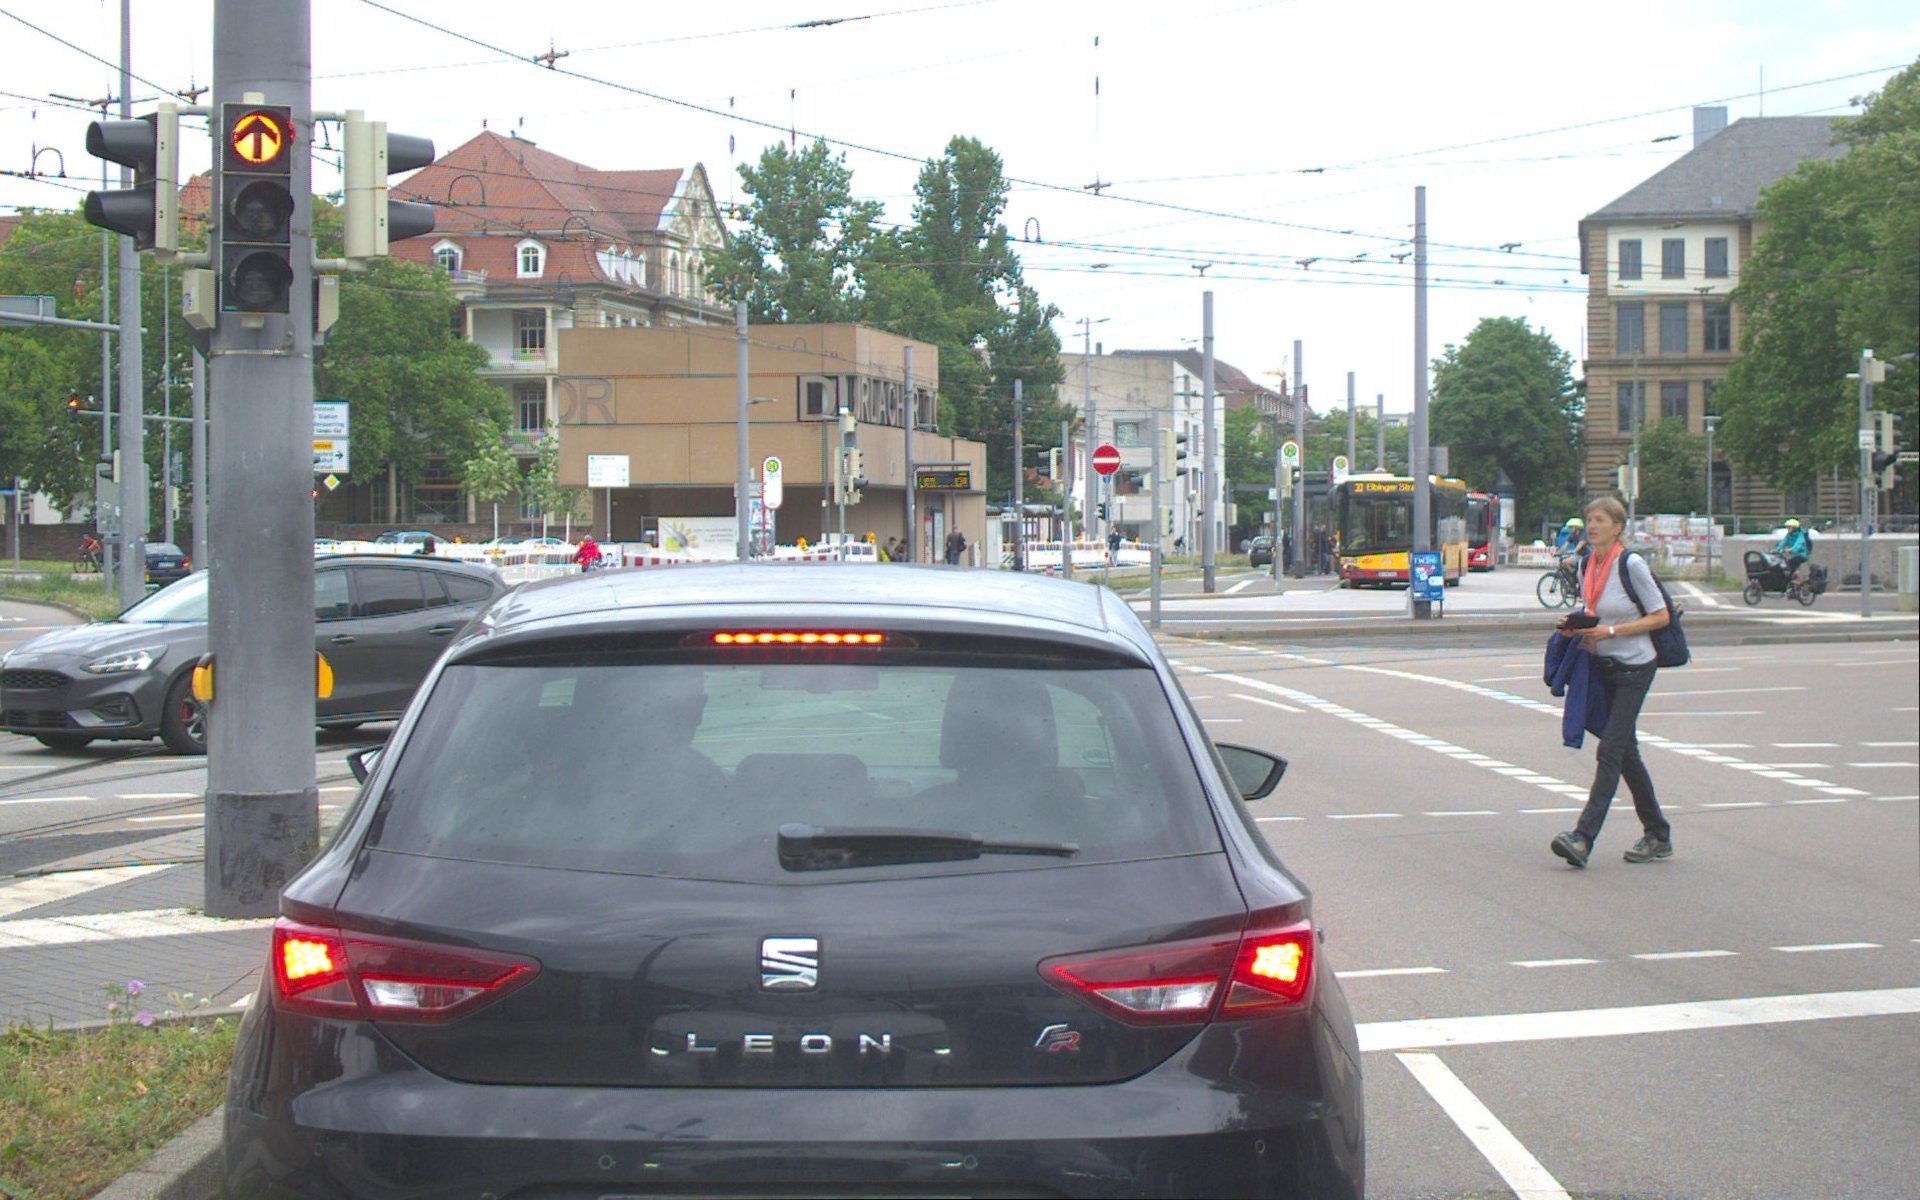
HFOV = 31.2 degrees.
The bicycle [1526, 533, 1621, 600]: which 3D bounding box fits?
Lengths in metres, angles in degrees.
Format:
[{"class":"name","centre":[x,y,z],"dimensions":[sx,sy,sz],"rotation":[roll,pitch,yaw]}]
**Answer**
[{"class":"bicycle","centre":[12.140,-0.668,68.009],"dimensions":[1.730,1.317,0.645],"rotation":[0,1,-12]}]

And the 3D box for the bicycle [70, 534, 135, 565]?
[{"class":"bicycle","centre":[-34.053,-2.012,136.555],"dimensions":[0.941,1.174,2.725],"rotation":[1,1,28]}]

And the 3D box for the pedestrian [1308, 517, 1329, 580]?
[{"class":"pedestrian","centre":[10.956,-1.586,105.053],"dimensions":[0.621,1.911,0.698],"rotation":[0,1,9]}]

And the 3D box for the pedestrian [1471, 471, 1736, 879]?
[{"class":"pedestrian","centre":[3.123,0.344,16.663],"dimensions":[1.101,1.900,0.735],"rotation":[0,1,-43]}]

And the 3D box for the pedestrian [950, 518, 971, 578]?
[{"class":"pedestrian","centre":[0.011,-1.658,109.743],"dimensions":[0.621,1.911,0.710],"rotation":[0,1,3]}]

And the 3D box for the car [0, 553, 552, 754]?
[{"class":"car","centre":[-5.390,0.355,26.698],"dimensions":[1.697,1.391,4.382],"rotation":[1,2,42]}]

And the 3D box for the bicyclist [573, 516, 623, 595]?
[{"class":"bicyclist","centre":[-7.929,-0.975,75.259],"dimensions":[0.882,1.726,0.894],"rotation":[0,1,-22]}]

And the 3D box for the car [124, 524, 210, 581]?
[{"class":"car","centre":[-24.301,-1.449,105.285],"dimensions":[1.993,1.678,4.001],"rotation":[0,0,-22]}]

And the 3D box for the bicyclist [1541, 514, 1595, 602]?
[{"class":"bicyclist","centre":[12.764,-0.887,72.213],"dimensions":[0.871,1.845,1.048],"rotation":[0,1,-6]}]

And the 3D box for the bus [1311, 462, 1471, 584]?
[{"class":"bus","centre":[11.894,-2.095,93.928],"dimensions":[2.962,3.112,11.531],"rotation":[0,1,14]}]

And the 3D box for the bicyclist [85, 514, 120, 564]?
[{"class":"bicyclist","centre":[-34.049,-2.429,136.541],"dimensions":[0.939,2.007,0.977],"rotation":[1,1,28]}]

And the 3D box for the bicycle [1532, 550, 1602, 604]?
[{"class":"bicycle","centre":[12.755,-0.500,72.271],"dimensions":[0.865,1.101,2.302],"rotation":[0,1,-5]}]

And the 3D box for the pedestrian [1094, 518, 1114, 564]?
[{"class":"pedestrian","centre":[6.064,-2.475,144.589],"dimensions":[0.622,1.911,0.709],"rotation":[0,0,25]}]

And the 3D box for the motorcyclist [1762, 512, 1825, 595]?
[{"class":"motorcyclist","centre":[16.660,-0.922,68.703],"dimensions":[0.977,1.644,0.750],"rotation":[-1,1,-33]}]

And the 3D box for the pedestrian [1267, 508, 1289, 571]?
[{"class":"pedestrian","centre":[9.680,-1.851,104.581],"dimensions":[0.621,1.911,0.698],"rotation":[0,1,9]}]

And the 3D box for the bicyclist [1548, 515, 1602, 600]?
[{"class":"bicyclist","centre":[12.164,-0.849,68.017],"dimensions":[0.854,1.667,0.654],"rotation":[0,1,-12]}]

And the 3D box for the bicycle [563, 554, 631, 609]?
[{"class":"bicycle","centre":[-7.965,-0.420,75.341],"dimensions":[0.891,1.174,2.302],"rotation":[0,1,-22]}]

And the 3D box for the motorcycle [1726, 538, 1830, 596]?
[{"class":"motorcycle","centre":[16.294,-0.656,68.483],"dimensions":[2.134,1.135,0.744],"rotation":[-1,1,-33]}]

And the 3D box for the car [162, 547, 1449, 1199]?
[{"class":"car","centre":[-0.342,0.639,6.468],"dimensions":[1.704,1.444,3.813],"rotation":[0,1,-4]}]

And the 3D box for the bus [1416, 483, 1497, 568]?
[{"class":"bus","centre":[19.855,-2.966,137.126],"dimensions":[2.655,3.272,10.990],"rotation":[0,1,11]}]

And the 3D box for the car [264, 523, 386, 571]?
[{"class":"car","centre":[-22.805,-1.906,123.545],"dimensions":[3.987,1.678,2.000],"rotation":[0,0,1]}]

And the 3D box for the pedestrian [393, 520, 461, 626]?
[{"class":"pedestrian","centre":[-9.861,-0.507,63.597],"dimensions":[0.700,1.927,1.028],"rotation":[1,1,38]}]
